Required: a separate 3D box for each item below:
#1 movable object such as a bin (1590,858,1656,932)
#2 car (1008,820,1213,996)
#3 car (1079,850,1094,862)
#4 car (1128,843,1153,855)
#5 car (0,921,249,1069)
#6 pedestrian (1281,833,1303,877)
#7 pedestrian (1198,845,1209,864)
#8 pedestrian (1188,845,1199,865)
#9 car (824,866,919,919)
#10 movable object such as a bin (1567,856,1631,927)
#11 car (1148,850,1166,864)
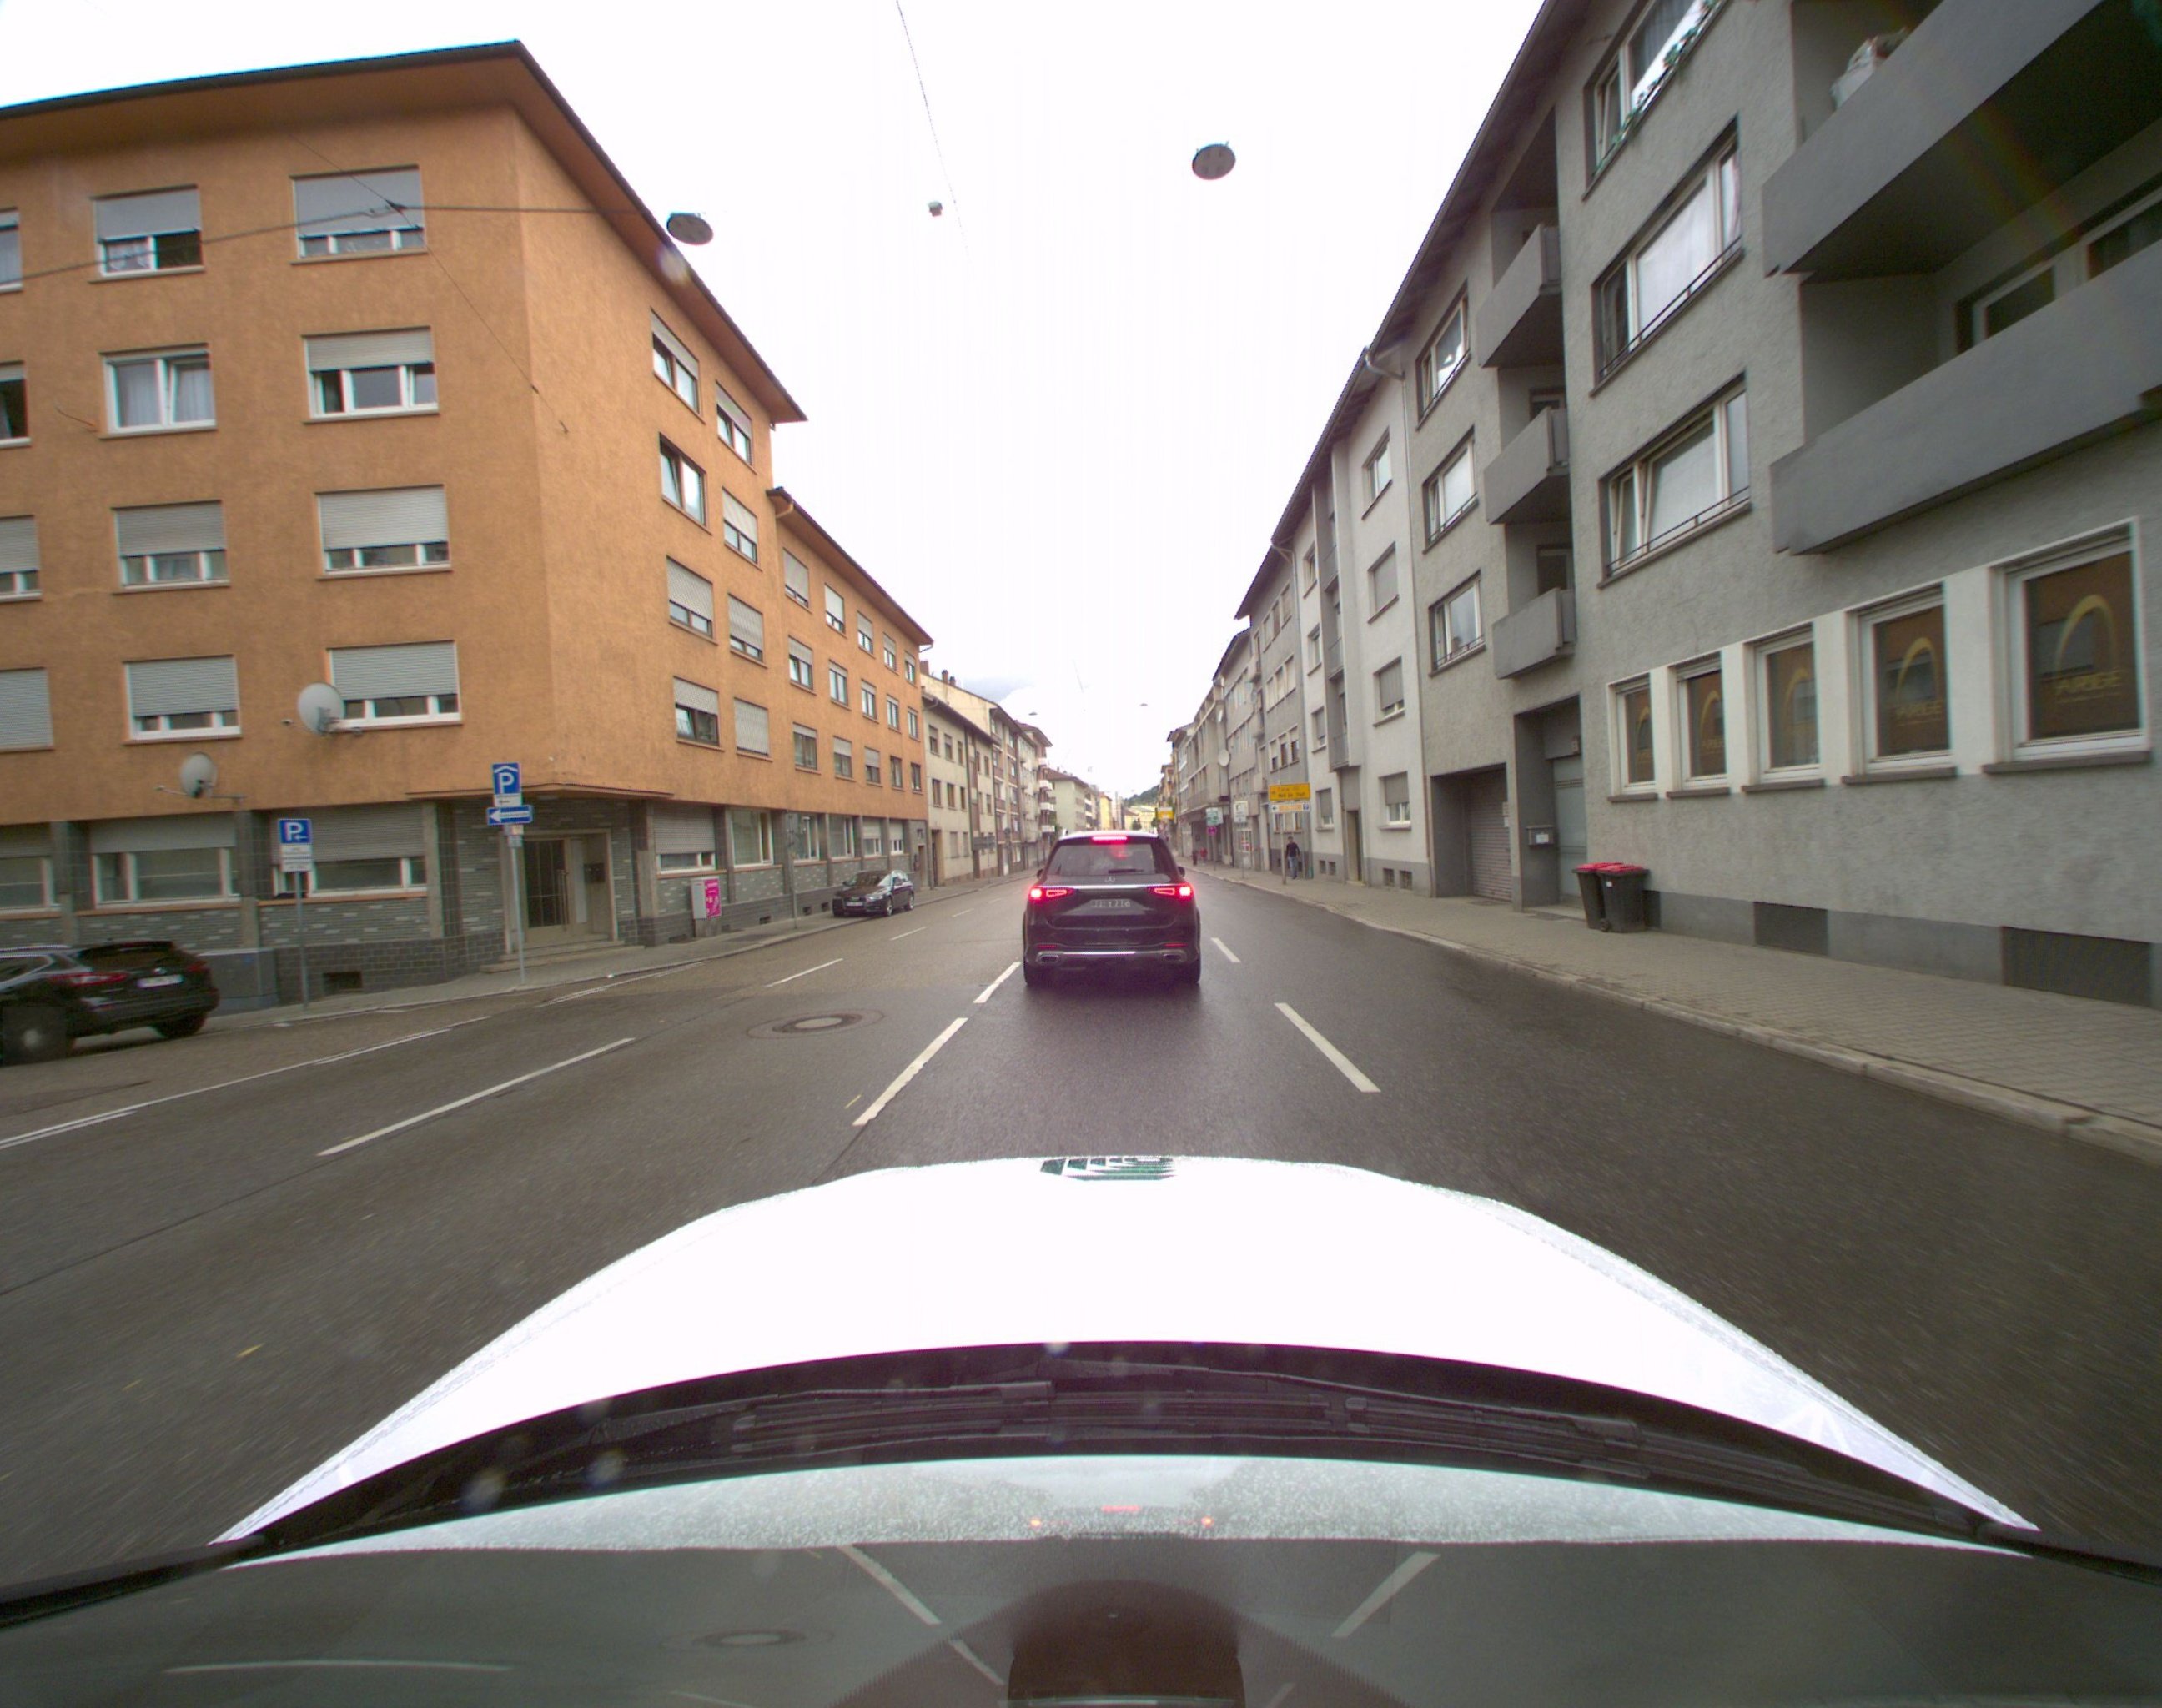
[{"bbox_3d":[7.607,0.563,11.444,0.471,0.962,0.565,-6,0,4],"label":"movable object such as a bin"},{"bbox_3d":[0.385,0.524,10.732,2.068,1.765,4.613,-2,1,2],"label":"car"},{"bbox_3d":[0.726,0.211,108.915,1.884,1.458,4.551,-2,1,1],"label":"car"},{"bbox_3d":[10.111,-0.838,138.156,3.967,2.013,2.003,-2,1,5],"label":"car"},{"bbox_3d":[-15.154,2.125,11.877,3.971,1.652,1.932,-7,0,3],"label":"car"},{"bbox_3d":[8.621,0.037,33.336,0.652,1.752,0.743,-5,0,8],"label":"pedestrian"},{"bbox_3d":[10.113,0.017,67.110,0.817,1.565,0.901,-2,0,6],"label":"pedestrian"},{"bbox_3d":[9.258,0.061,67.182,0.817,1.565,0.901,-2,0,6],"label":"pedestrian"},{"bbox_3d":[-6.960,1.225,27.571,1.884,1.458,4.551,-2,1,1],"label":"car"},{"bbox_3d":[7.633,0.540,12.015,0.560,0.962,0.475,-6,0,5],"label":"movable object such as a bin"},{"bbox_3d":[8.224,0.306,88.562,1.728,1.388,4.585,-2,1,2],"label":"car"}]
